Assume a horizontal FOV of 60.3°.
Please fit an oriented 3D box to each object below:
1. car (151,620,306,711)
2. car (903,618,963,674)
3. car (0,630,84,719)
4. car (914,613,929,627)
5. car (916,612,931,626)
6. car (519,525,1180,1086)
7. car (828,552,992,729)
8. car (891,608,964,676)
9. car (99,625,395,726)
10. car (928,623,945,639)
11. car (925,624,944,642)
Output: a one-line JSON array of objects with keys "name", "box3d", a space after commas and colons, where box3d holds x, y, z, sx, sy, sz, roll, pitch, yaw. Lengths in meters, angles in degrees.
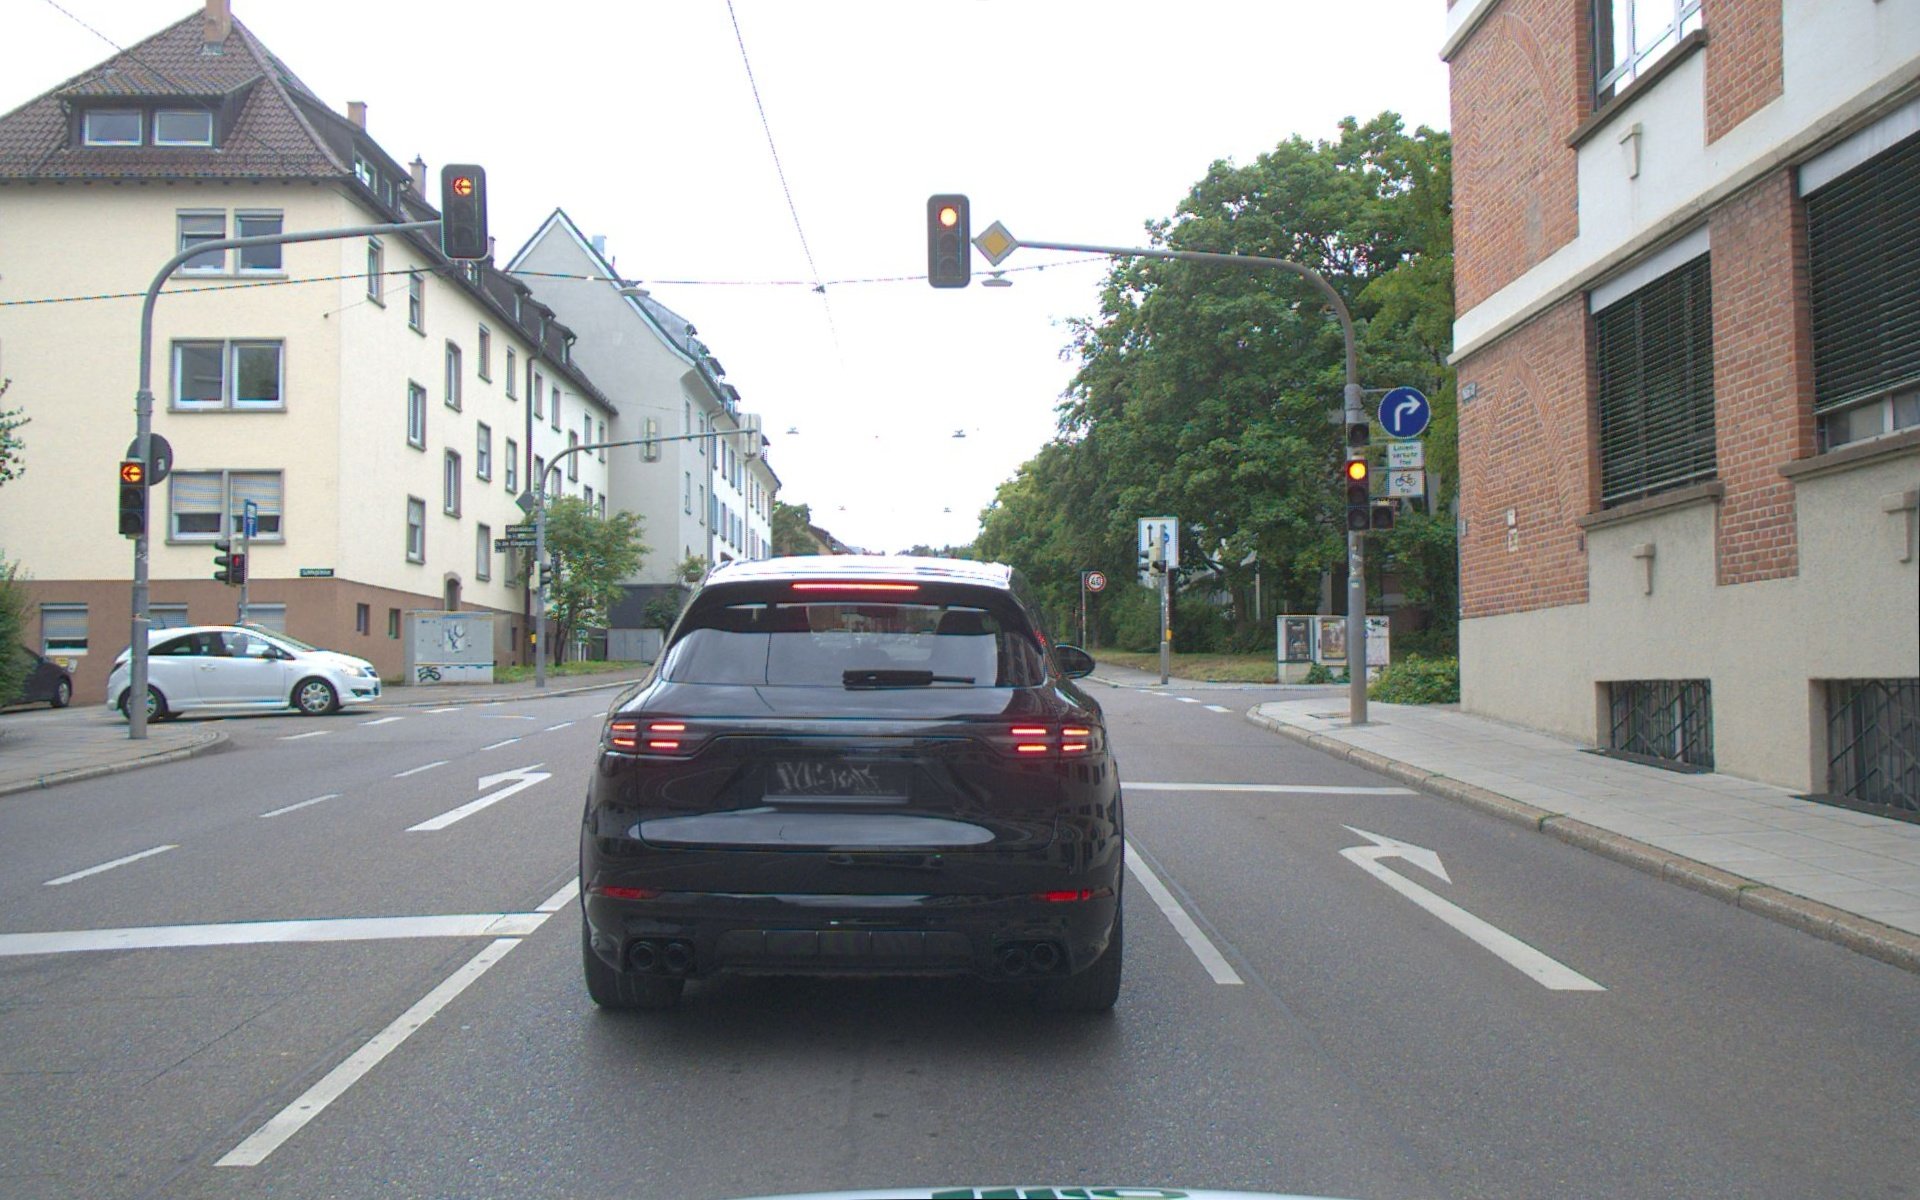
[{"name": "car", "box3d": [-14.724, 1.278, 33.487, 1.658, 1.582, 3.762, -3, 0, -5]}, {"name": "car", "box3d": [-0.844, 1.428, 52.505, 1.790, 1.633, 3.858, 1, 0, -1]}, {"name": "car", "box3d": [-19.630, 1.525, 33.759, 1.658, 1.636, 3.762, -3, 0, -5]}, {"name": "car", "box3d": [-4.708, 2.433, 202.836, 1.790, 1.633, 4.134, 1, 0, -1]}, {"name": "car", "box3d": [-4.635, 2.382, 210.164, 1.790, 1.633, 4.134, 1, 0, -1]}, {"name": "car", "box3d": [-0.356, 0.630, 7.235, 2.007, 1.695, 4.266, 1, 0, -1]}, {"name": "car", "box3d": [-0.620, 0.481, 21.881, 1.925, 2.078, 4.134, 1, 0, -1]}, {"name": "car", "box3d": [-0.839, 1.075, 43.793, 1.790, 1.633, 4.134, 1, 0, -1]}, {"name": "car", "box3d": [-11.147, 1.150, 26.105, 3.982, 1.417, 1.692, -1, 0, -11]}, {"name": "car", "box3d": [-2.590, 3.414, 182.393, 1.790, 1.633, 4.134, 1, 0, -1]}, {"name": "car", "box3d": [-2.519, 3.252, 163.221, 1.790, 1.633, 4.134, 1, 0, -1]}]
